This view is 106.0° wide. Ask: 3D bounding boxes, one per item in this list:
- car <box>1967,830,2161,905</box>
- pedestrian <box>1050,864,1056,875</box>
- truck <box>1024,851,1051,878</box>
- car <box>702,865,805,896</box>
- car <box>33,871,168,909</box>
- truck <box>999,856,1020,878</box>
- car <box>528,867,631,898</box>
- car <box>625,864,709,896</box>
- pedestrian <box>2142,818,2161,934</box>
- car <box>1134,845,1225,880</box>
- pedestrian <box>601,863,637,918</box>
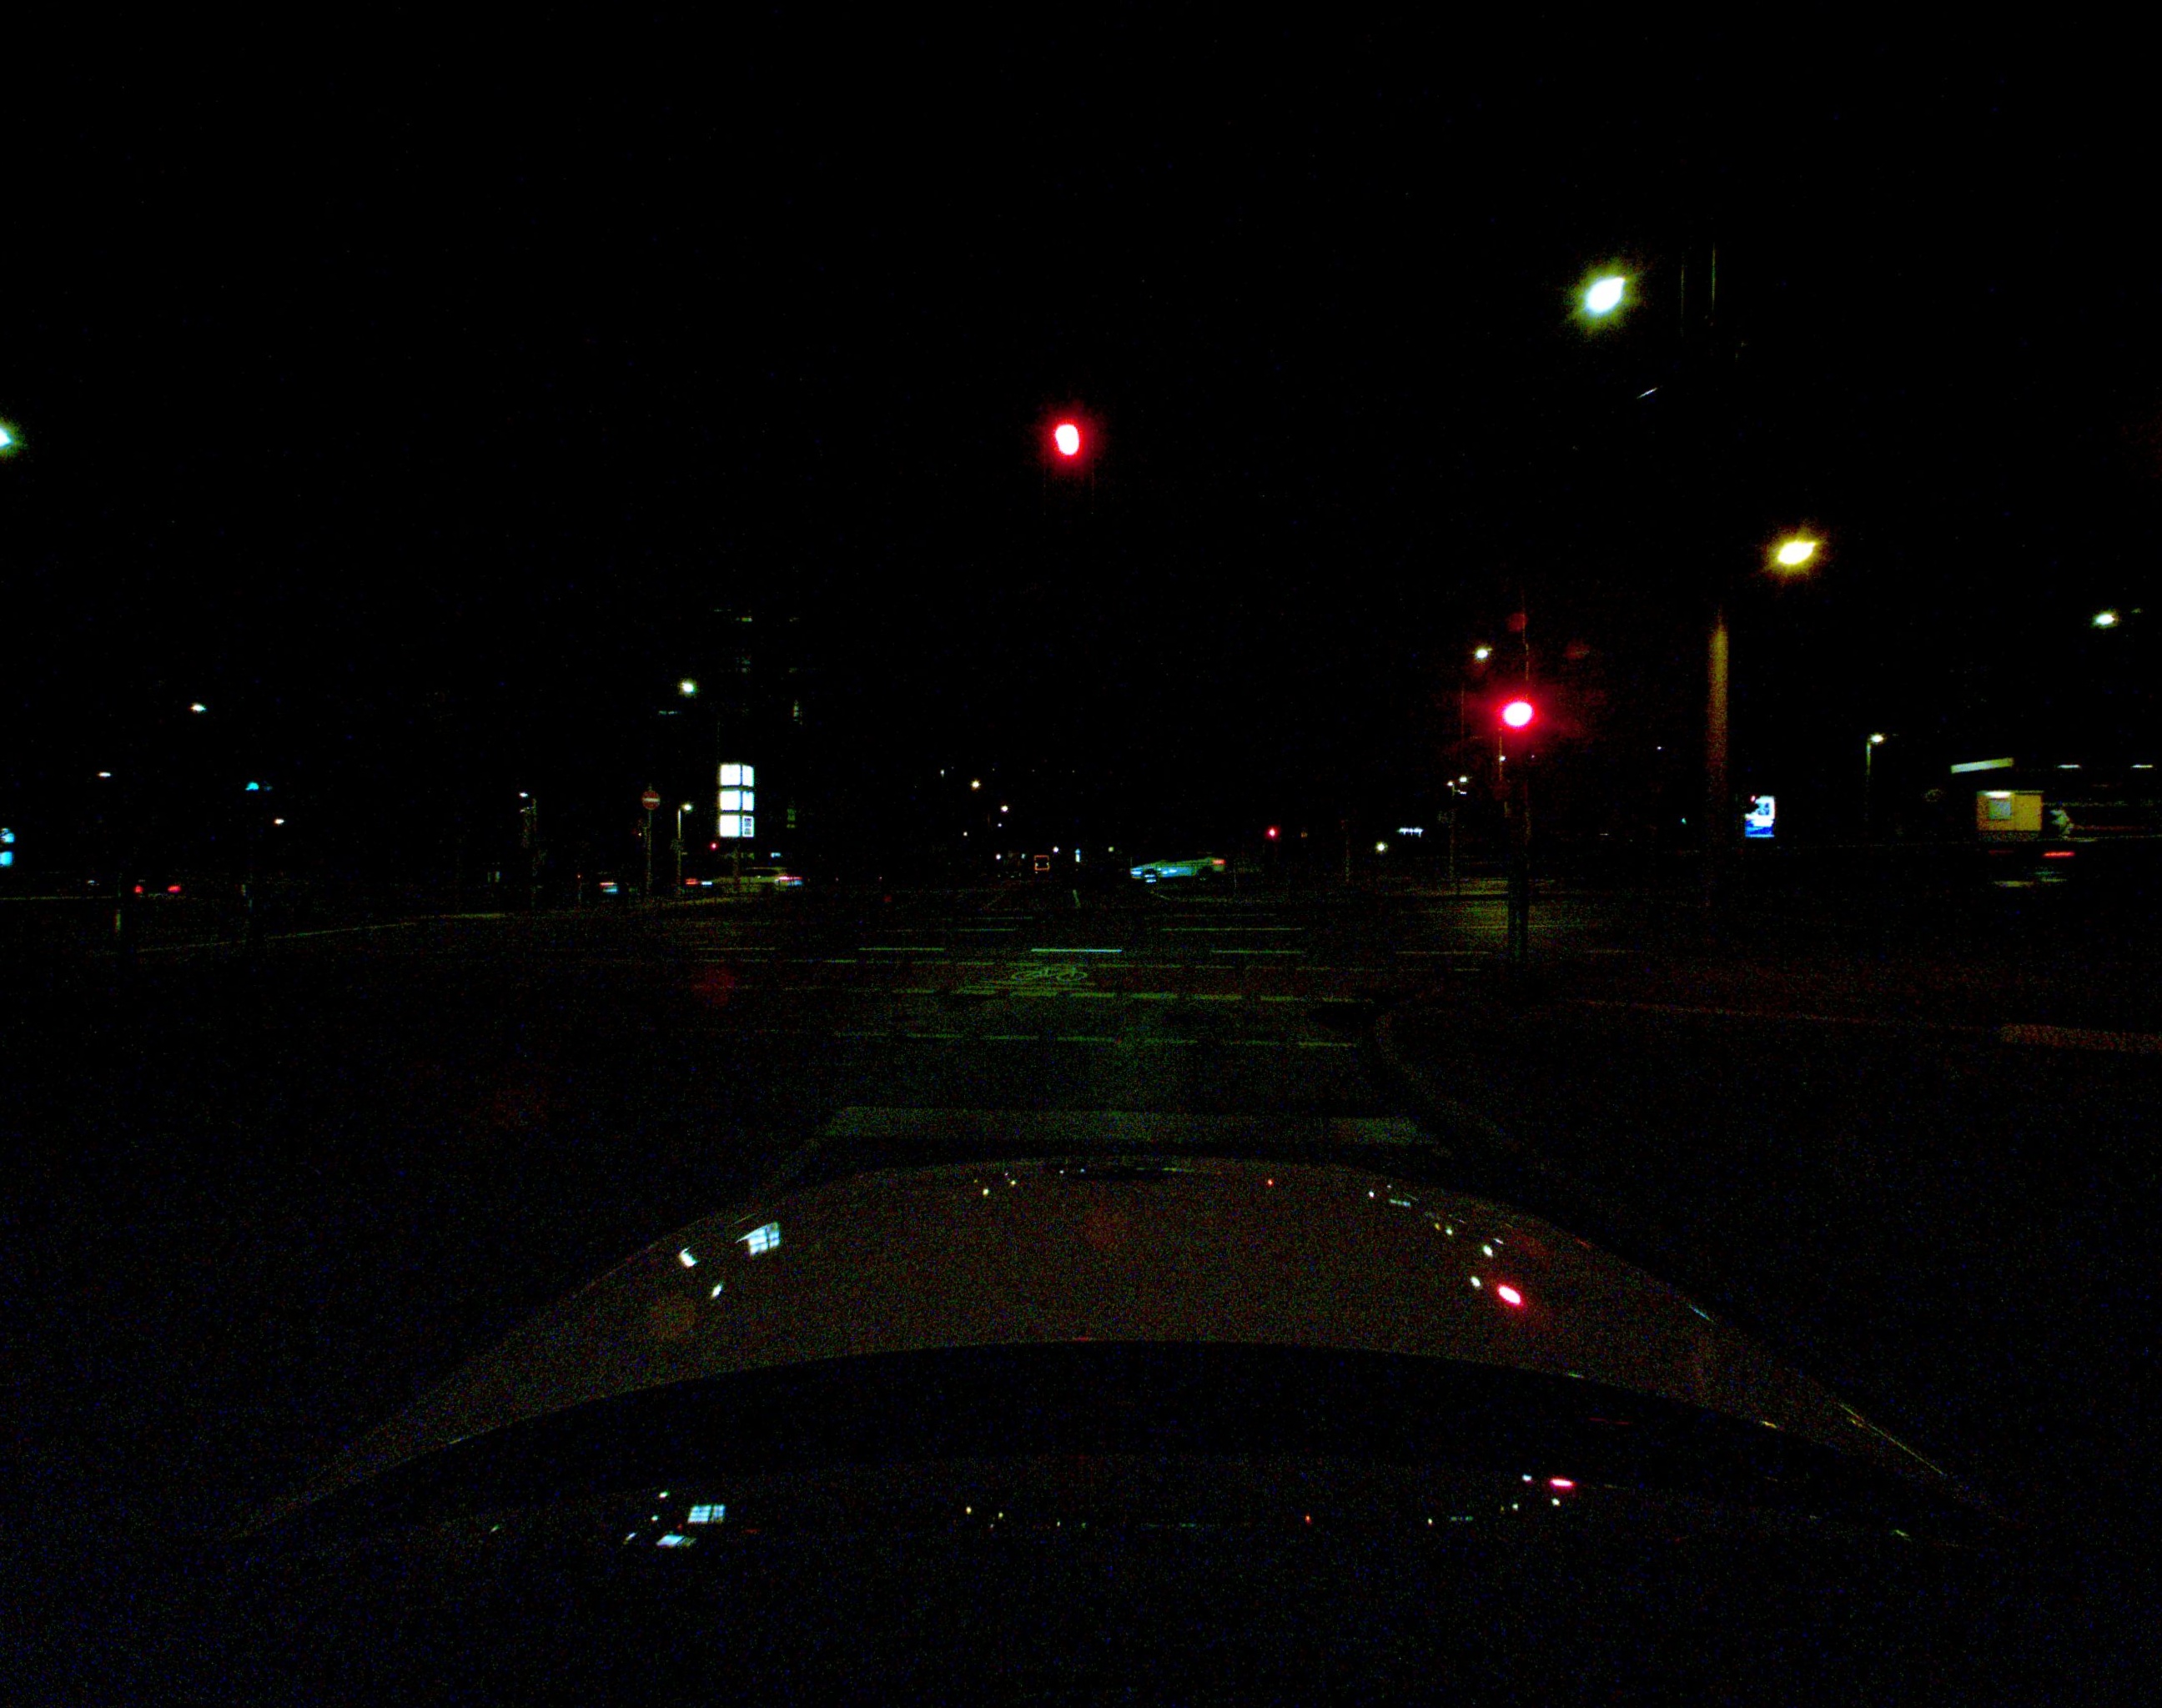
[{"bbox_3d":[22.137,0.264,17.743,3.669,1.420,1.645,-3,0,5],"label":"car"},{"bbox_3d":[-5.130,2.786,147.828,0.851,1.912,1.001,0,-1,-16],"label":"pedestrian"},{"bbox_3d":[-7.993,1.932,149.253,3.366,4.843,7.865,0,-1,-14],"label":"truck"},{"bbox_3d":[-16.704,1.331,41.697,4.553,1.486,1.781,0,0,5],"label":"car"},{"bbox_3d":[-50.045,1.822,41.620,4.920,1.884,1.871,0,-1,5],"label":"car"},{"bbox_3d":[-10.531,1.913,120.038,2.419,3.089,6.412,0,-1,-11],"label":"truck"},{"bbox_3d":[-24.239,1.355,39.459,3.817,1.486,1.871,0,-1,5],"label":"car"},{"bbox_3d":[-23.113,1.448,45.546,3.798,1.631,1.816,-2,0,8],"label":"car"},{"bbox_3d":[15.598,0.291,11.240,0.870,1.656,0.843,-7,-5,42],"label":"pedestrian"},{"bbox_3d":[4.838,0.430,40.343,4.377,1.644,1.944,0,-1,5],"label":"car"},{"bbox_3d":[-14.724,1.150,25.957,0.700,1.722,0.681,0,-1,10],"label":"pedestrian"}]
